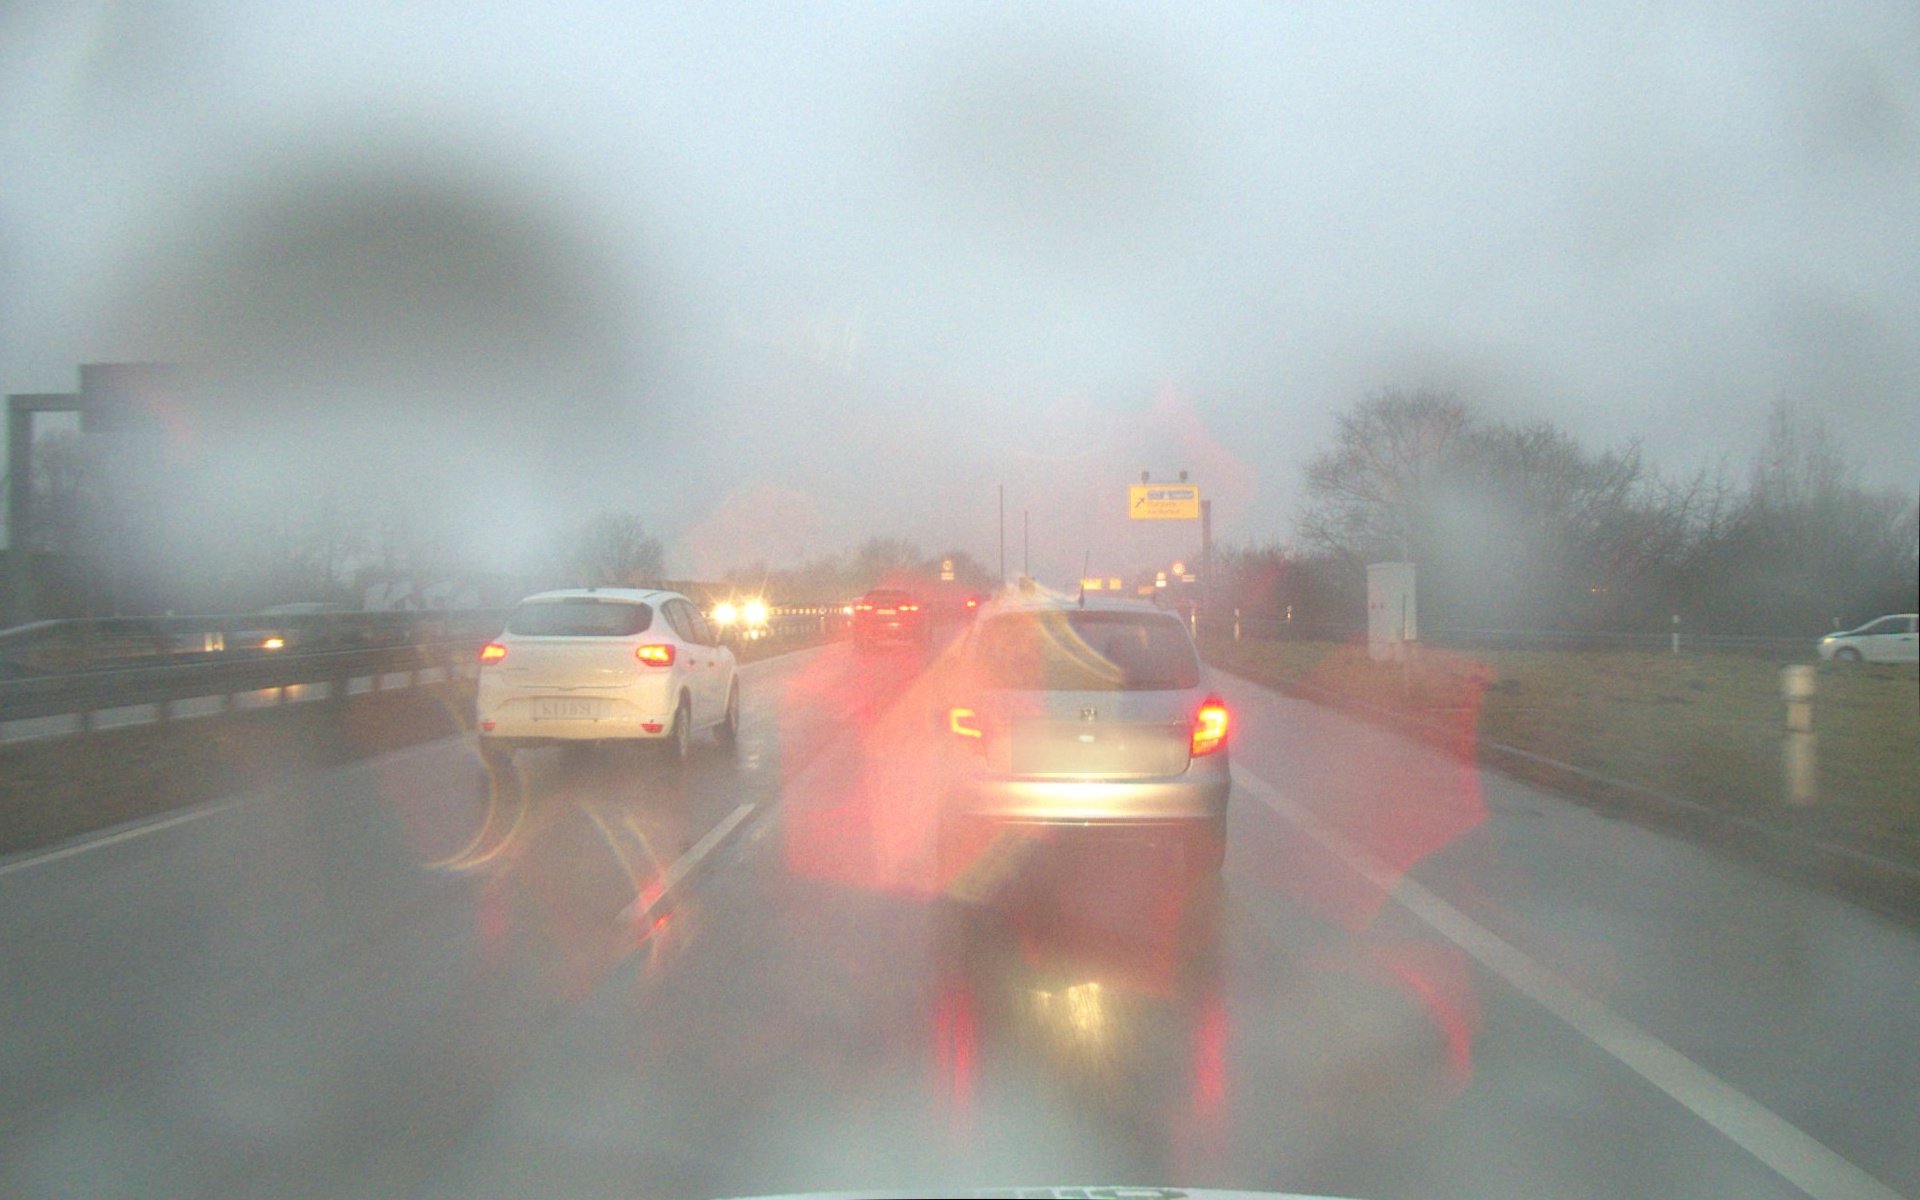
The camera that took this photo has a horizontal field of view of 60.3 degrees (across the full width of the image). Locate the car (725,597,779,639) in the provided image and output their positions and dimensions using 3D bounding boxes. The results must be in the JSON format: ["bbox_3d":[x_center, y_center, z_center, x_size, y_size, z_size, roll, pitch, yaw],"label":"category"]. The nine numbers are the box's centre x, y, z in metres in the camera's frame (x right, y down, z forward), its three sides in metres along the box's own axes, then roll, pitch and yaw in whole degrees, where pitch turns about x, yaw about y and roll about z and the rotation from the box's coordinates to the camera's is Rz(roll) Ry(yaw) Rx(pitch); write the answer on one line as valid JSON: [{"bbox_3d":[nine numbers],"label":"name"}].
[{"bbox_3d":[-10.088,0.863,80.451,1.952,1.952,4.288,1,0,2],"label":"car"}]

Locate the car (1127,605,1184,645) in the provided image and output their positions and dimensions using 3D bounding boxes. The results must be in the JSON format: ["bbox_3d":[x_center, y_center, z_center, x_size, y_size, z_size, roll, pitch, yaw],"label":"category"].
[{"bbox_3d":[7.954,0.998,67.703,1.753,1.572,3.999,-1,0,-2],"label":"car"}]

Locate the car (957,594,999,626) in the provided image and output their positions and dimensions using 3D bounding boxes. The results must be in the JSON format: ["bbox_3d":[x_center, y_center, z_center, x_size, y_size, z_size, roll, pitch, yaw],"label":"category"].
[{"bbox_3d":[0.923,0.499,84.136,1.751,1.572,4.003,0,0,6],"label":"car"}]

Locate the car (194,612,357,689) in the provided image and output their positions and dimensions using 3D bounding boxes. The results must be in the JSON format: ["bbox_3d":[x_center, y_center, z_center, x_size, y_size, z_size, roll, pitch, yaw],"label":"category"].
[{"bbox_3d":[-13.744,0.983,33.435,1.719,1.434,3.639,0,0,1],"label":"car"}]

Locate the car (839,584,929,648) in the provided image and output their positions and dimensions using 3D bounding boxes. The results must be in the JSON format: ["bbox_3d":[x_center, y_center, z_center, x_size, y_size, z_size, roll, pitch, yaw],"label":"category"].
[{"bbox_3d":[-2.014,0.409,45.111,1.952,1.629,4.310,1,0,4],"label":"car"}]

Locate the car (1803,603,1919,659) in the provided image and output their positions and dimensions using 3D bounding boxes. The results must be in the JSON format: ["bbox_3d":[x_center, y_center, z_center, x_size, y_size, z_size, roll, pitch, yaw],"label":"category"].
[{"bbox_3d":[23.644,0.776,42.070,3.910,1.369,1.997,0,0,28],"label":"car"}]

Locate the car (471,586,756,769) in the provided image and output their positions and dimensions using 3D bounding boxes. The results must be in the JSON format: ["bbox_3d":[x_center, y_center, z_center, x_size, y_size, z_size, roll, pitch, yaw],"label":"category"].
[{"bbox_3d":[-3.034,0.613,15.343,1.688,1.465,4.226,0,0,1],"label":"car"}]

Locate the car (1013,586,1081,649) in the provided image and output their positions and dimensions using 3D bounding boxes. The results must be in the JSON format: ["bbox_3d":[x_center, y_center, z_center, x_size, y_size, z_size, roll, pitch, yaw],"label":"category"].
[{"bbox_3d":[2.645,0.504,49.424,1.857,1.798,4.311,0,0,5],"label":"car"}]

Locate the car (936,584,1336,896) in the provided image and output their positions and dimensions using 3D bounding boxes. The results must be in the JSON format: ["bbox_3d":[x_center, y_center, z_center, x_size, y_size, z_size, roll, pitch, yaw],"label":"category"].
[{"bbox_3d":[0.936,0.700,10.216,1.952,1.527,4.138,0,0,2],"label":"car"}]
